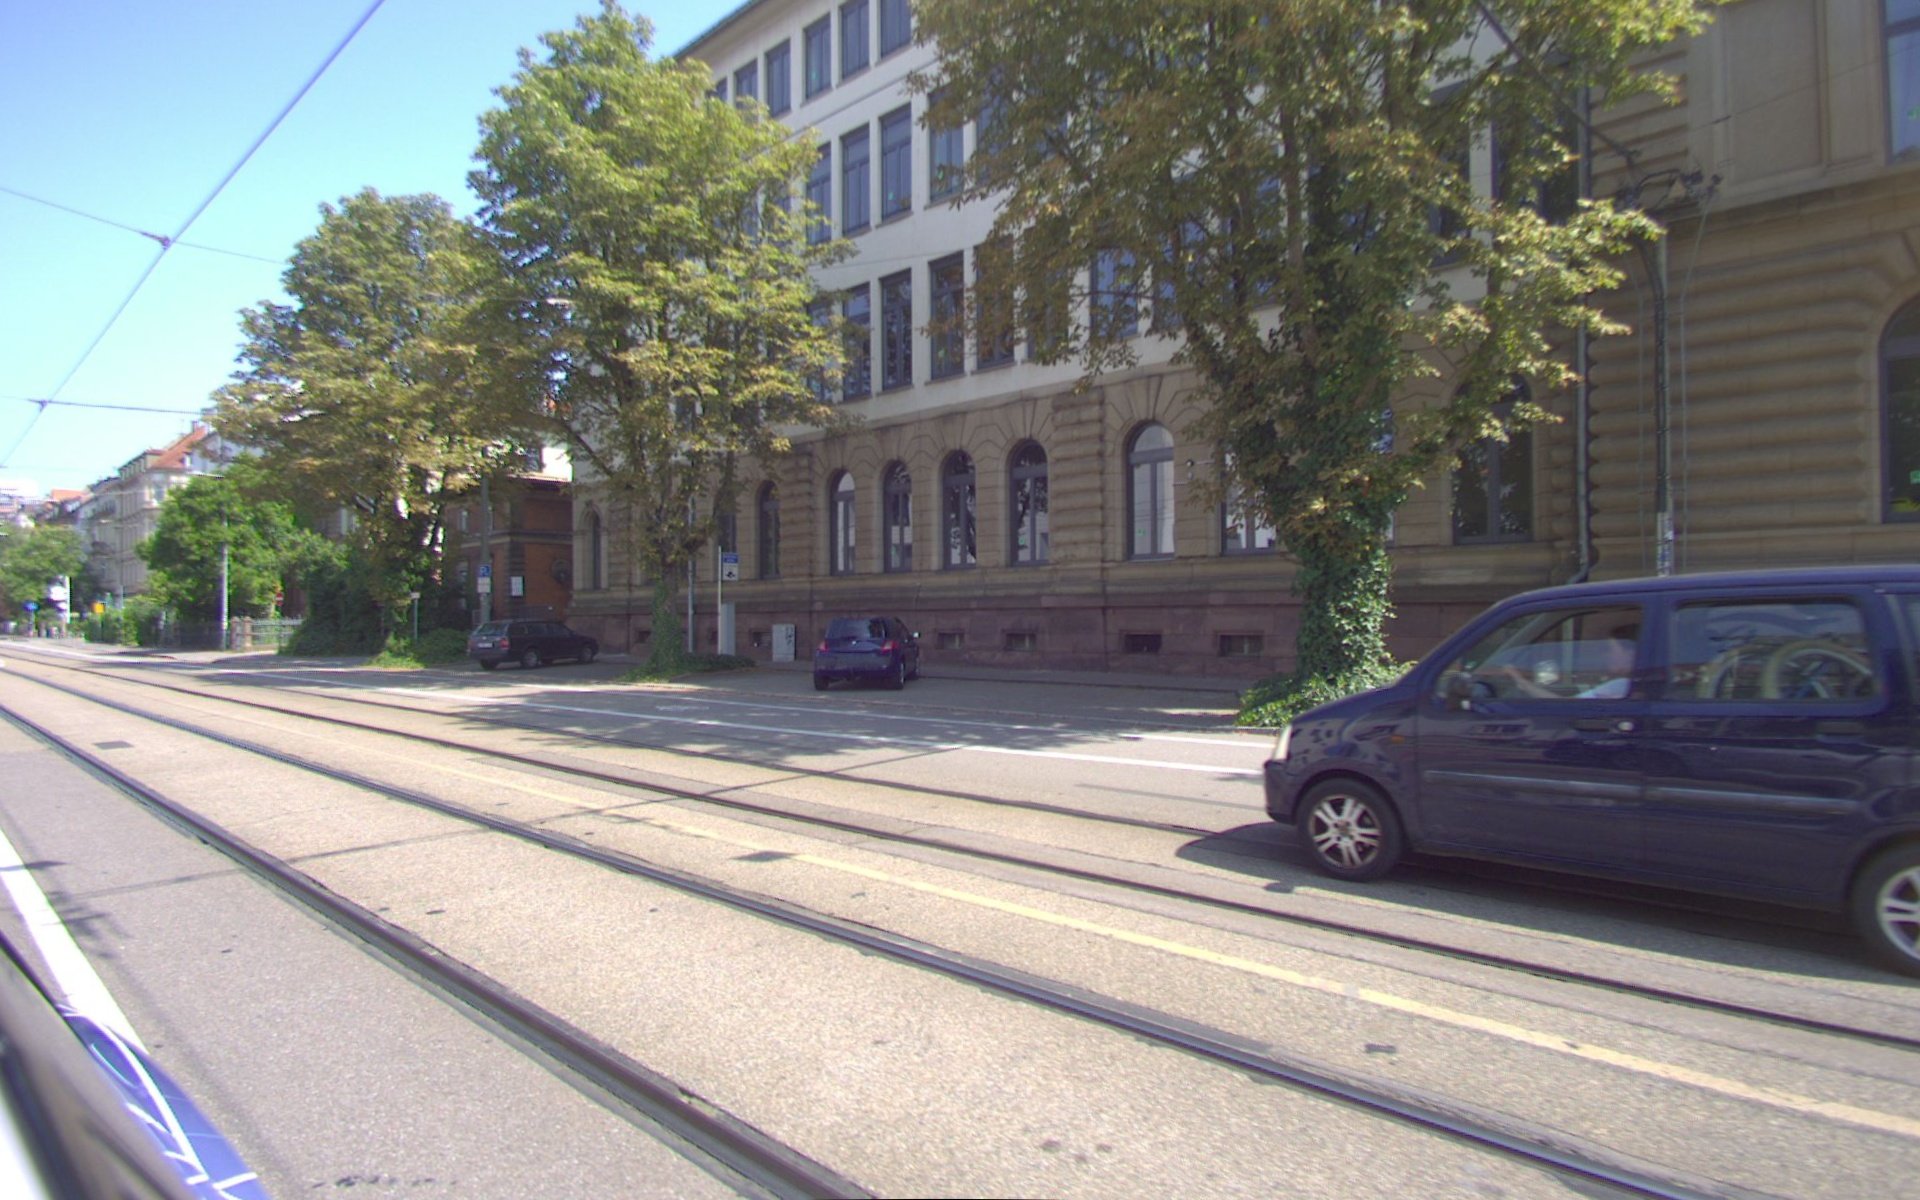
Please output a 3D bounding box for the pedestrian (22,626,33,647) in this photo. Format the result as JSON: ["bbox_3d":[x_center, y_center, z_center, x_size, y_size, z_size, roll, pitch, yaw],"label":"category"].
[{"bbox_3d":[-90.505,3.526,98.206,0.974,2.029,0.648,-2,-2,40],"label":"pedestrian"}]

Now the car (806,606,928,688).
[{"bbox_3d":[-1.804,0.913,20.911,1.798,1.507,4.157,-1,-1,5],"label":"car"}]

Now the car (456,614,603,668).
[{"bbox_3d":[-13.044,1.200,30.995,1.804,1.473,4.407,-1,-1,15],"label":"car"}]

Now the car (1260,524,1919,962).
[{"bbox_3d":[3.565,0.557,5.076,3.581,1.667,1.673,-1,-1,43],"label":"car"}]
